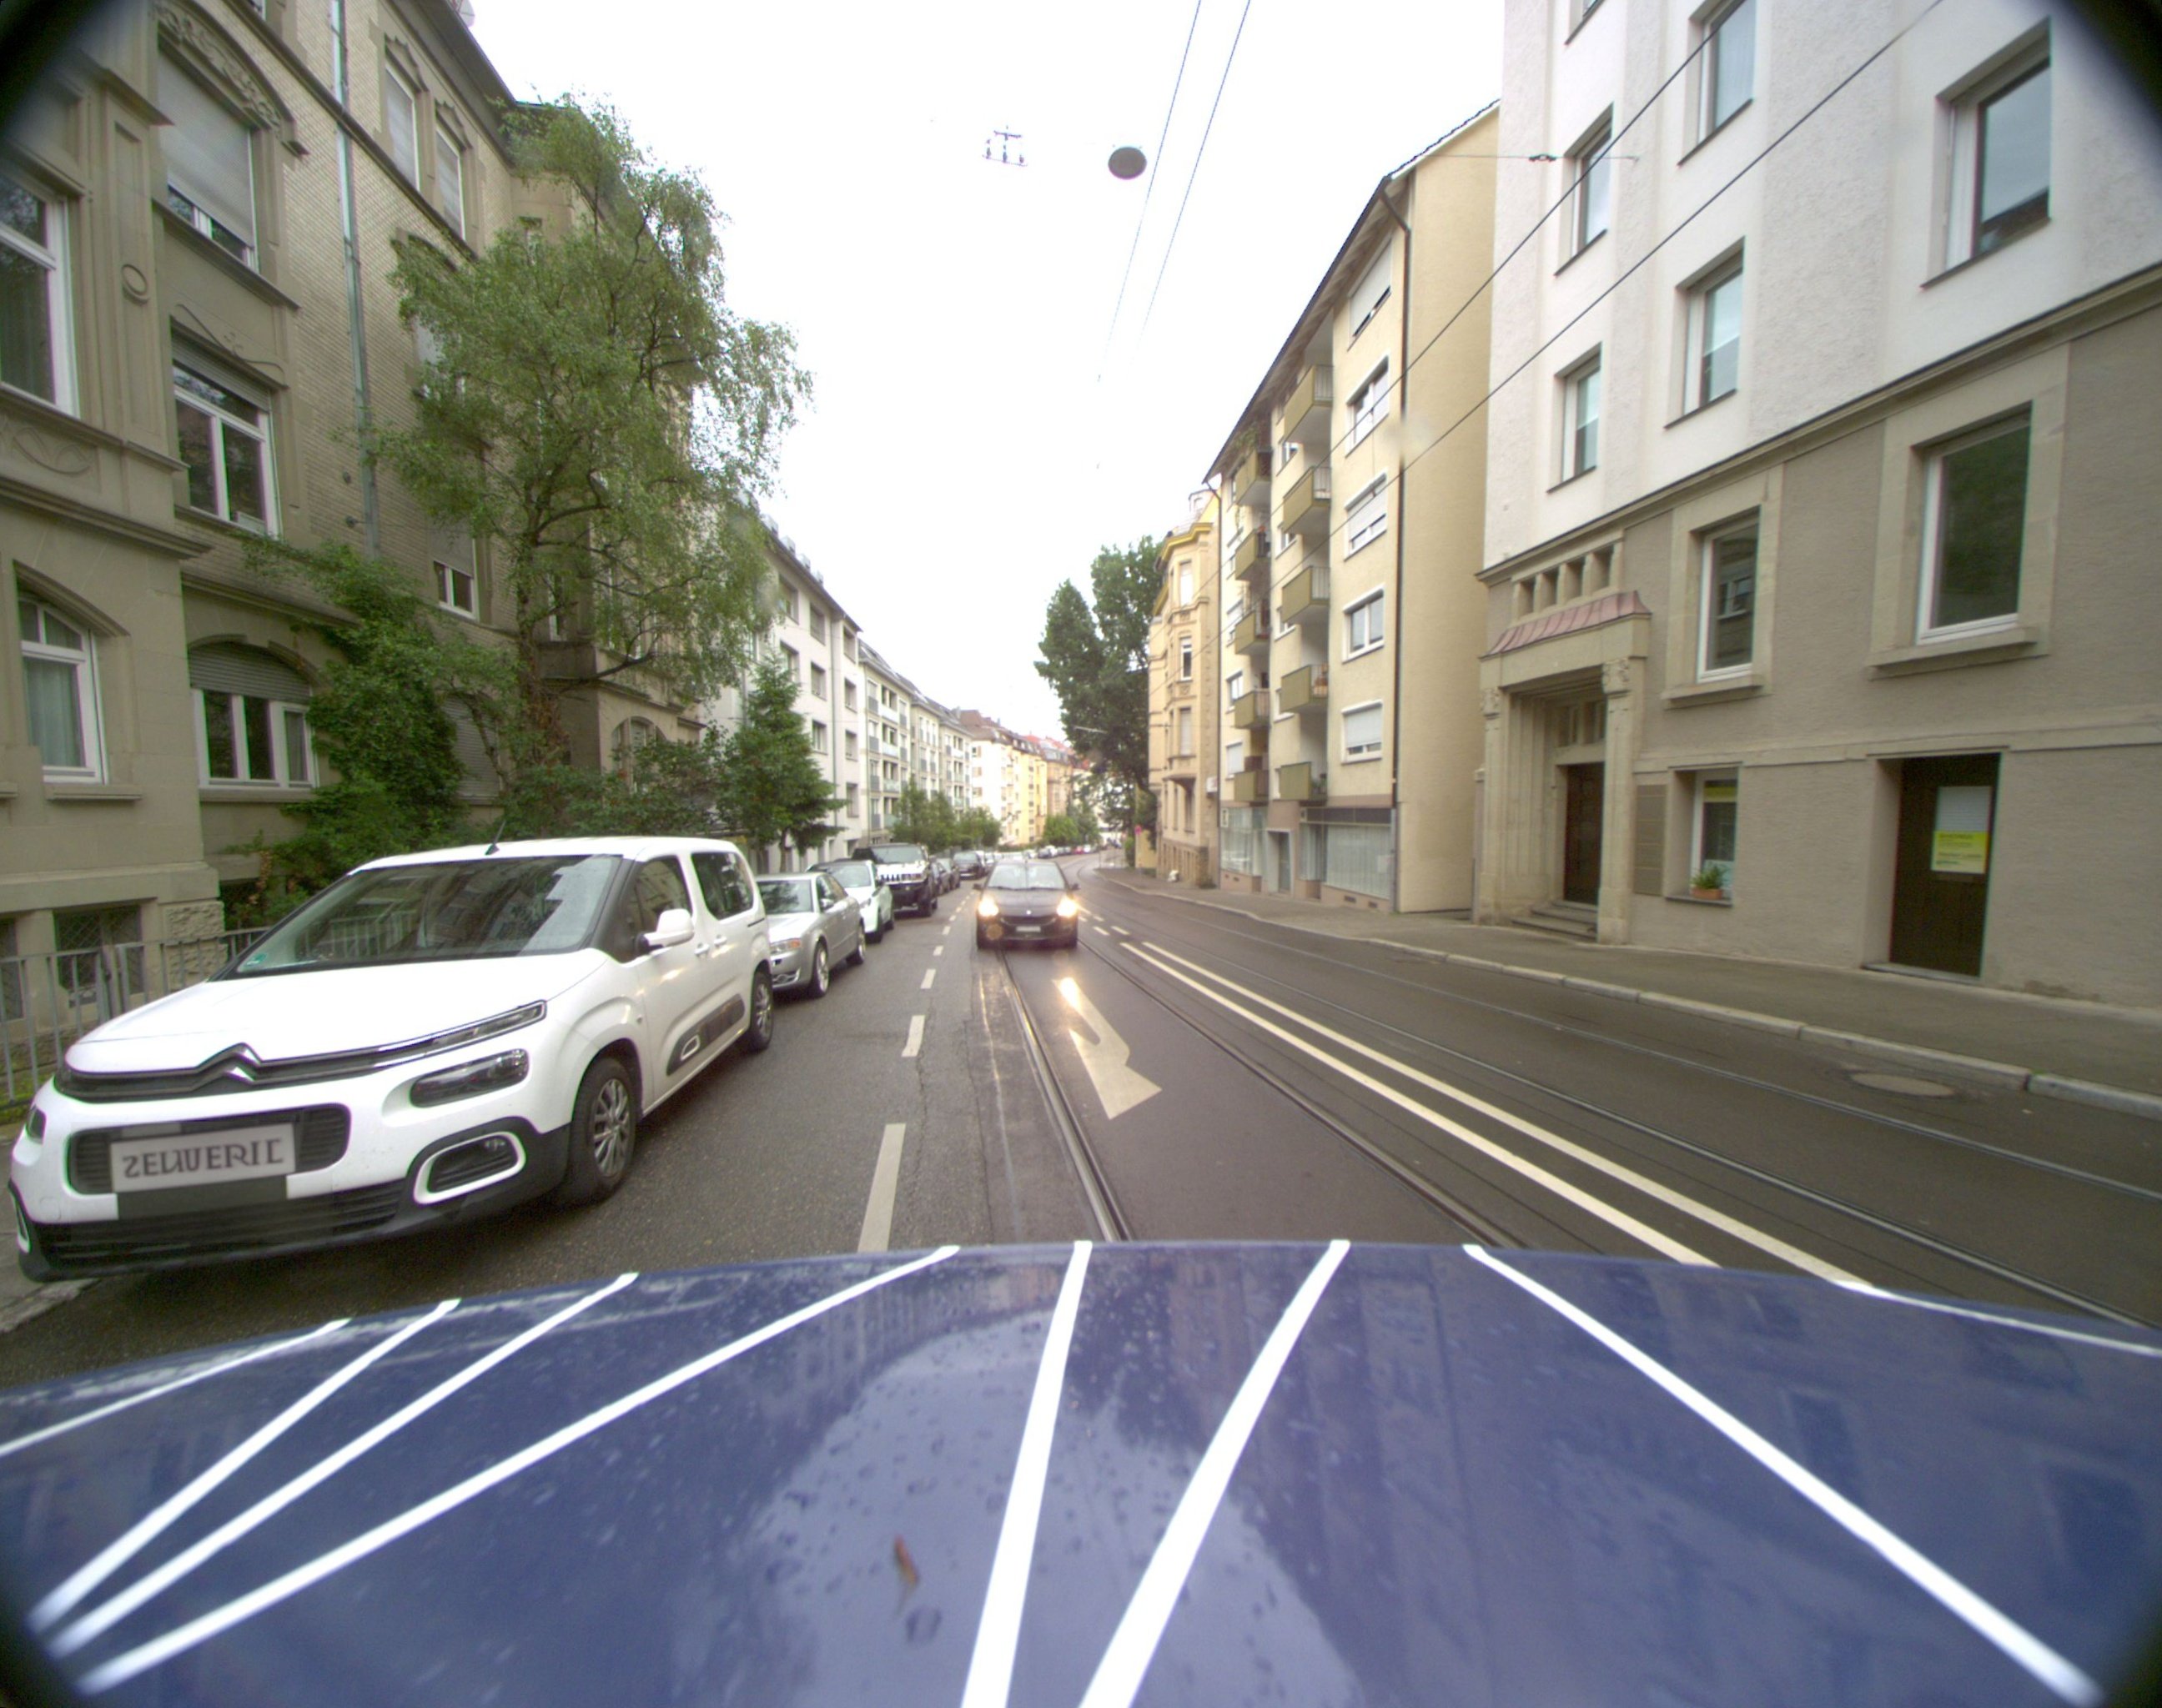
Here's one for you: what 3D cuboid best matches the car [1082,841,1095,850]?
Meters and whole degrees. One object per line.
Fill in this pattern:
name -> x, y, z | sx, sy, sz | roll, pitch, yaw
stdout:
car -> 1.456, -1.556, 139.770 | 1.612, 1.434, 3.690 | -1, 2, 13

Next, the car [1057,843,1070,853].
car -> -2.728, -0.880, 118.764 | 1.590, 1.434, 3.477 | -2, 2, 6

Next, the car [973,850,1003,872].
car -> -7.392, 0.508, 60.767 | 1.837, 1.647, 4.685 | -1, 1, -1

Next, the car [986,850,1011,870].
car -> -7.184, 0.479, 66.290 | 1.837, 1.618, 4.662 | -1, 1, -2

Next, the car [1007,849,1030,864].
car -> -6.680, 0.256, 81.559 | 1.862, 1.507, 4.789 | -1, 1, 2

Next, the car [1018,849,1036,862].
car -> -6.344, 0.169, 89.002 | 1.600, 1.416, 3.515 | -1, 1, 4

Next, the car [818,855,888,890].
car -> -10.640, 0.831, 35.725 | 1.817, 1.418, 4.153 | -3, 1, 2

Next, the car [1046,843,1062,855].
car -> -3.873, -0.696, 109.718 | 1.798, 1.613, 3.868 | -2, 2, 6

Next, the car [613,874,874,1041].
car -> -3.937, 1.080, 9.775 | 1.754, 1.392, 4.475 | -3, 1, -7

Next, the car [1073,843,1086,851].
car -> -0.256, -1.233, 131.113 | 1.556, 1.360, 3.126 | -1, 2, 13

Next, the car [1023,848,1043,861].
car -> -5.917, 0.057, 93.720 | 1.721, 1.459, 4.391 | -1, 1, 6

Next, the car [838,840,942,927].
car -> -5.098, 0.686, 21.087 | 2.135, 2.002, 5.346 | -3, 1, -8

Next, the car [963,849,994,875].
car -> -7.376, 0.538, 54.846 | 1.783, 1.785, 4.469 | -1, 1, -3

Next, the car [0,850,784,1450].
car -> -3.299, 0.900, 4.542 | 1.803, 1.755, 4.459 | -3, 1, -9

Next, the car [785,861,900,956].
car -> -4.600, 0.966, 15.117 | 1.565, 1.537, 3.581 | -3, 1, -9

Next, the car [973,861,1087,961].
car -> -1.020, 0.895, 13.773 | 1.740, 1.445, 3.997 | -1, 0, -7

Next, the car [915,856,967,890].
car -> -6.533, 0.834, 35.830 | 1.799, 1.429, 4.609 | -2, 1, -3

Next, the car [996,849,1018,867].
car -> -7.017, 0.390, 71.923 | 1.981, 1.576, 4.563 | -1, 1, -5

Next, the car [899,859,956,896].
car -> -6.213, 0.909, 31.104 | 1.683, 1.330, 3.881 | -2, 1, -3

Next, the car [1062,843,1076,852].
car -> -1.917, -1.001, 123.863 | 1.658, 1.360, 3.637 | -2, 2, 8

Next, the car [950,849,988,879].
car -> -7.158, 0.591, 49.102 | 1.948, 1.785, 4.818 | -2, 1, -4

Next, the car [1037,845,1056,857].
car -> -4.672, -0.468, 104.580 | 1.797, 1.444, 4.104 | -2, 2, 9
